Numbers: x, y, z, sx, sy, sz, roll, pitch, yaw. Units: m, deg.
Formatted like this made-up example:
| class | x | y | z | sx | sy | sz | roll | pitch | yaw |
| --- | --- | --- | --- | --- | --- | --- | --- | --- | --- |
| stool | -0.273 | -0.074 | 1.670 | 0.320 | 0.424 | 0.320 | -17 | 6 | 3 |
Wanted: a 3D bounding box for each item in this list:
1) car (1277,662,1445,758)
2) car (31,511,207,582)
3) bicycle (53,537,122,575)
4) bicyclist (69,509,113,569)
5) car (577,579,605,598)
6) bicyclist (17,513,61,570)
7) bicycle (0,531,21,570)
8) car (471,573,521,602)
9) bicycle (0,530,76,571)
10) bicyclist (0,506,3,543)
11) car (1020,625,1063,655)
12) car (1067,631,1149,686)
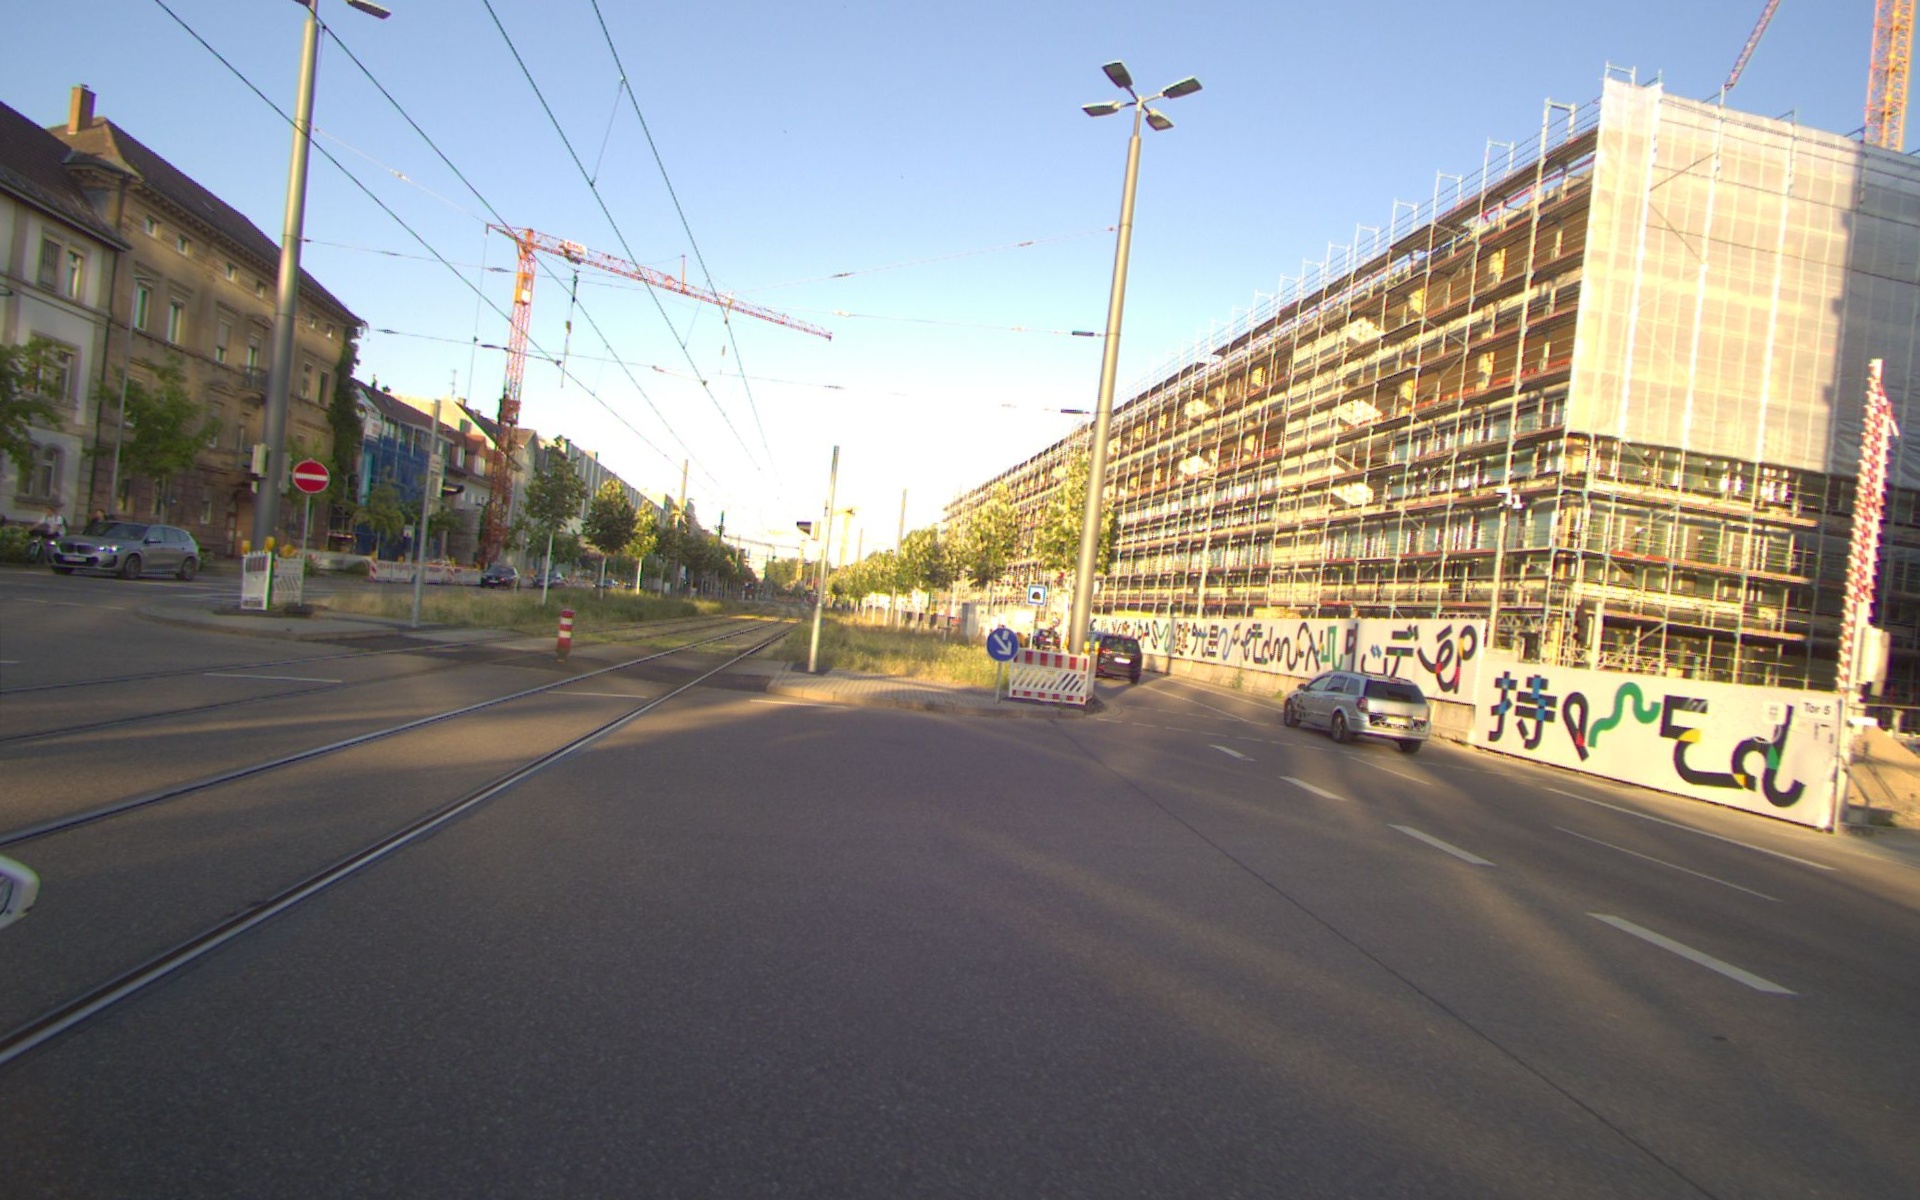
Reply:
| class | x | y | z | sx | sy | sz | roll | pitch | yaw |
| --- | --- | --- | --- | --- | --- | --- | --- | --- | --- |
| car | 8.475 | 2.276 | 21.667 | 1.639 | 1.472 | 4.067 | 8 | -1 | -3 |
| car | -23.662 | -1.442 | 28.531 | 1.803 | 1.617 | 4.253 | 5 | -1 | -9 |
| bicycle | -25.987 | -1.288 | 30.006 | 0.710 | 1.065 | 2.037 | 3 | 1 | -16 |
| bicyclist | -25.971 | -1.818 | 30.076 | 0.694 | 1.724 | 0.765 | 3 | 2 | -17 |
| car | -35.740 | -1.096 | 97.477 | 1.674 | 1.617 | 3.884 | 5 | -1 | -9 |
| bicyclist | -27.102 | -1.710 | 29.618 | 0.504 | 1.567 | 0.691 | 7 | 0 | -8 |
| bicycle | -26.722 | -1.411 | 27.362 | 0.519 | 1.064 | 2.046 | 6 | -1 | -6 |
| car | -29.197 | -0.784 | 63.429 | 1.674 | 1.617 | 4.253 | 5 | -1 | -9 |
| bicycle | -27.145 | -1.437 | 29.646 | 0.509 | 1.064 | 2.041 | 7 | -1 | -8 |
| bicyclist | -26.688 | -1.743 | 27.350 | 0.501 | 1.722 | 0.767 | 6 | 1 | -6 |
| car | 5.390 | 2.623 | 66.829 | 1.965 | 1.593 | 3.996 | 6 | -1 | -6 |
| car | 5.212 | 2.041 | 35.953 | 1.755 | 1.535 | 4.065 | 8 | -1 | -6 |
